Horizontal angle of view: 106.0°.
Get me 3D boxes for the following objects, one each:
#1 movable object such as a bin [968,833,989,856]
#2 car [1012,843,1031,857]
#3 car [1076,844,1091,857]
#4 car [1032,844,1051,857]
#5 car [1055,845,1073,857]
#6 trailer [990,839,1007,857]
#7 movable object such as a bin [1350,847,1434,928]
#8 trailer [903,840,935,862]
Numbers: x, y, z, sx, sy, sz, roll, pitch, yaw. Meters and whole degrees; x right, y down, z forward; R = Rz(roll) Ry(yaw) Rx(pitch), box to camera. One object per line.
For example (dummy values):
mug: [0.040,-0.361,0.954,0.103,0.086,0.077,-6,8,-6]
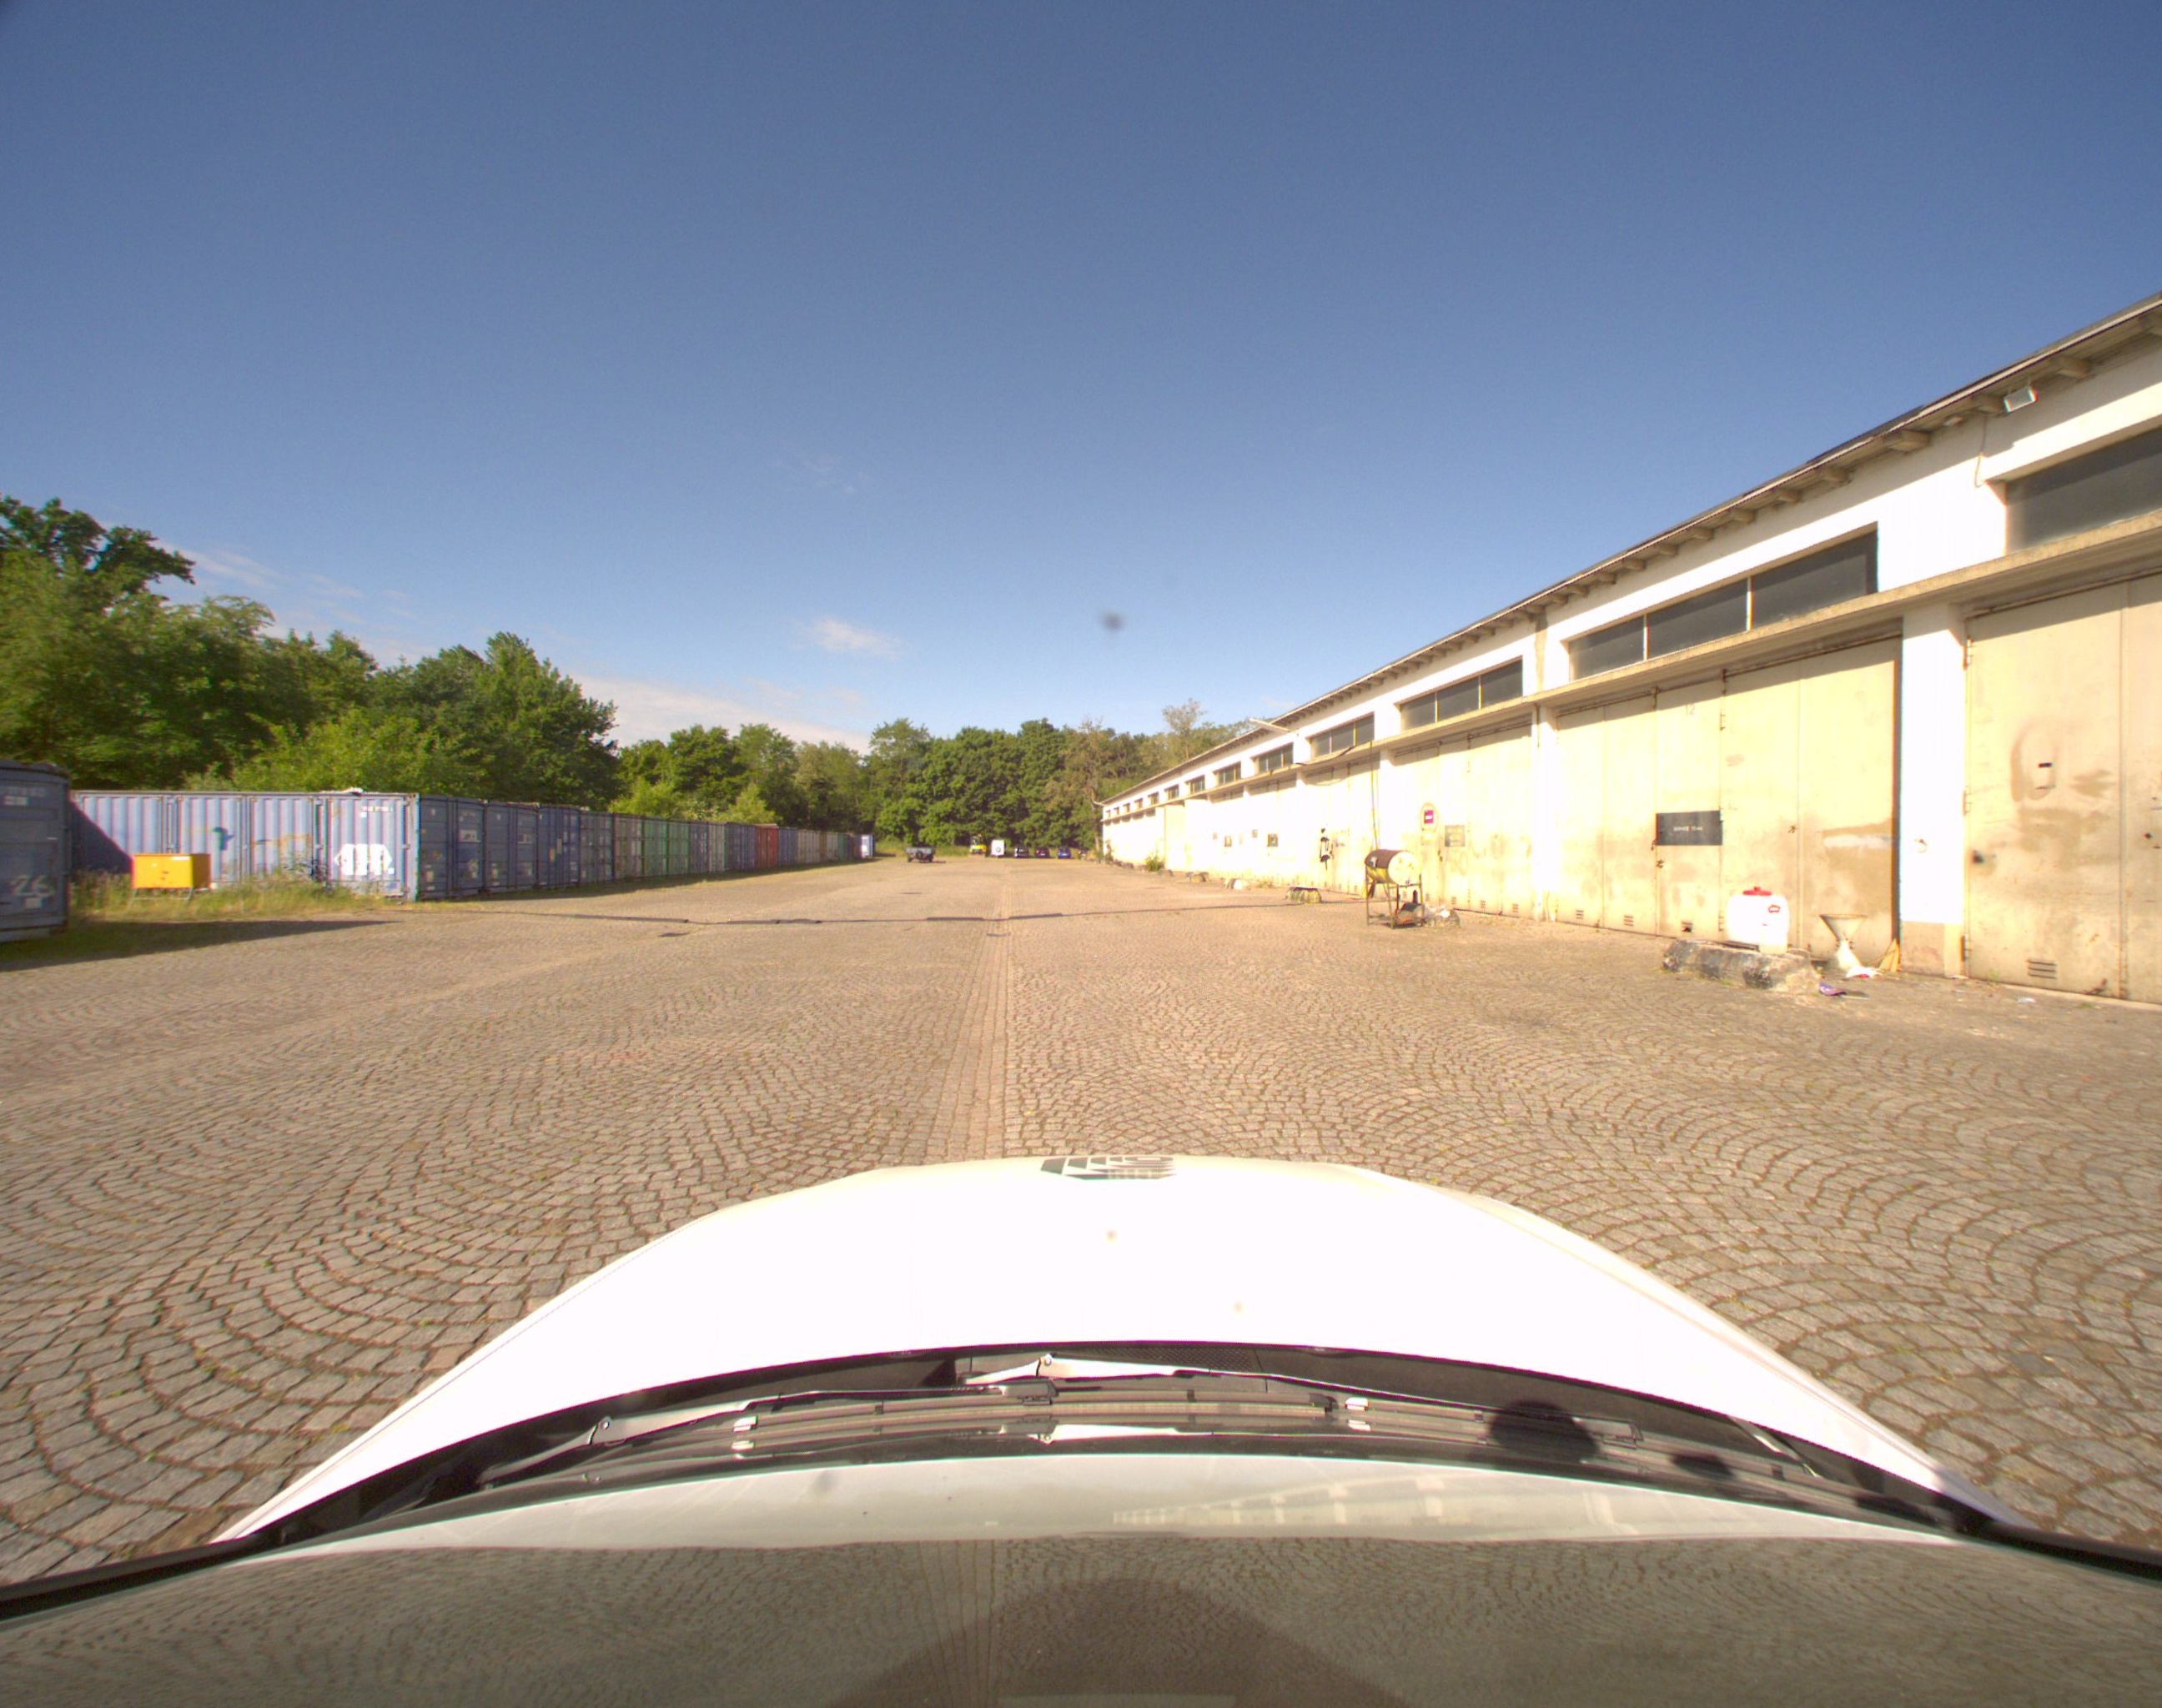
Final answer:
movable object such as a bin: [-12.289,-1.143,97.887,1.988,2.618,3.998,2,0,-1]
car: [-7.035,-0.468,96.229,1.854,1.585,4.002,0,0,2]
car: [0.290,-0.412,98.641,1.679,1.563,4.002,0,0,2]
car: [-4.652,-0.444,96.893,1.986,1.462,4.002,0,0,2]
car: [-2.037,-0.357,97.164,1.986,1.420,4.002,0,0,2]
trailer: [-9.884,-0.736,97.860,1.788,2.090,3.970,0,0,-1]
movable object such as a bin: [5.343,0.546,14.045,0.823,1.331,1.276,0,0,-10]
trailer: [-15.493,-0.280,78.200,2.402,2.013,4.168,2,0,-3]
